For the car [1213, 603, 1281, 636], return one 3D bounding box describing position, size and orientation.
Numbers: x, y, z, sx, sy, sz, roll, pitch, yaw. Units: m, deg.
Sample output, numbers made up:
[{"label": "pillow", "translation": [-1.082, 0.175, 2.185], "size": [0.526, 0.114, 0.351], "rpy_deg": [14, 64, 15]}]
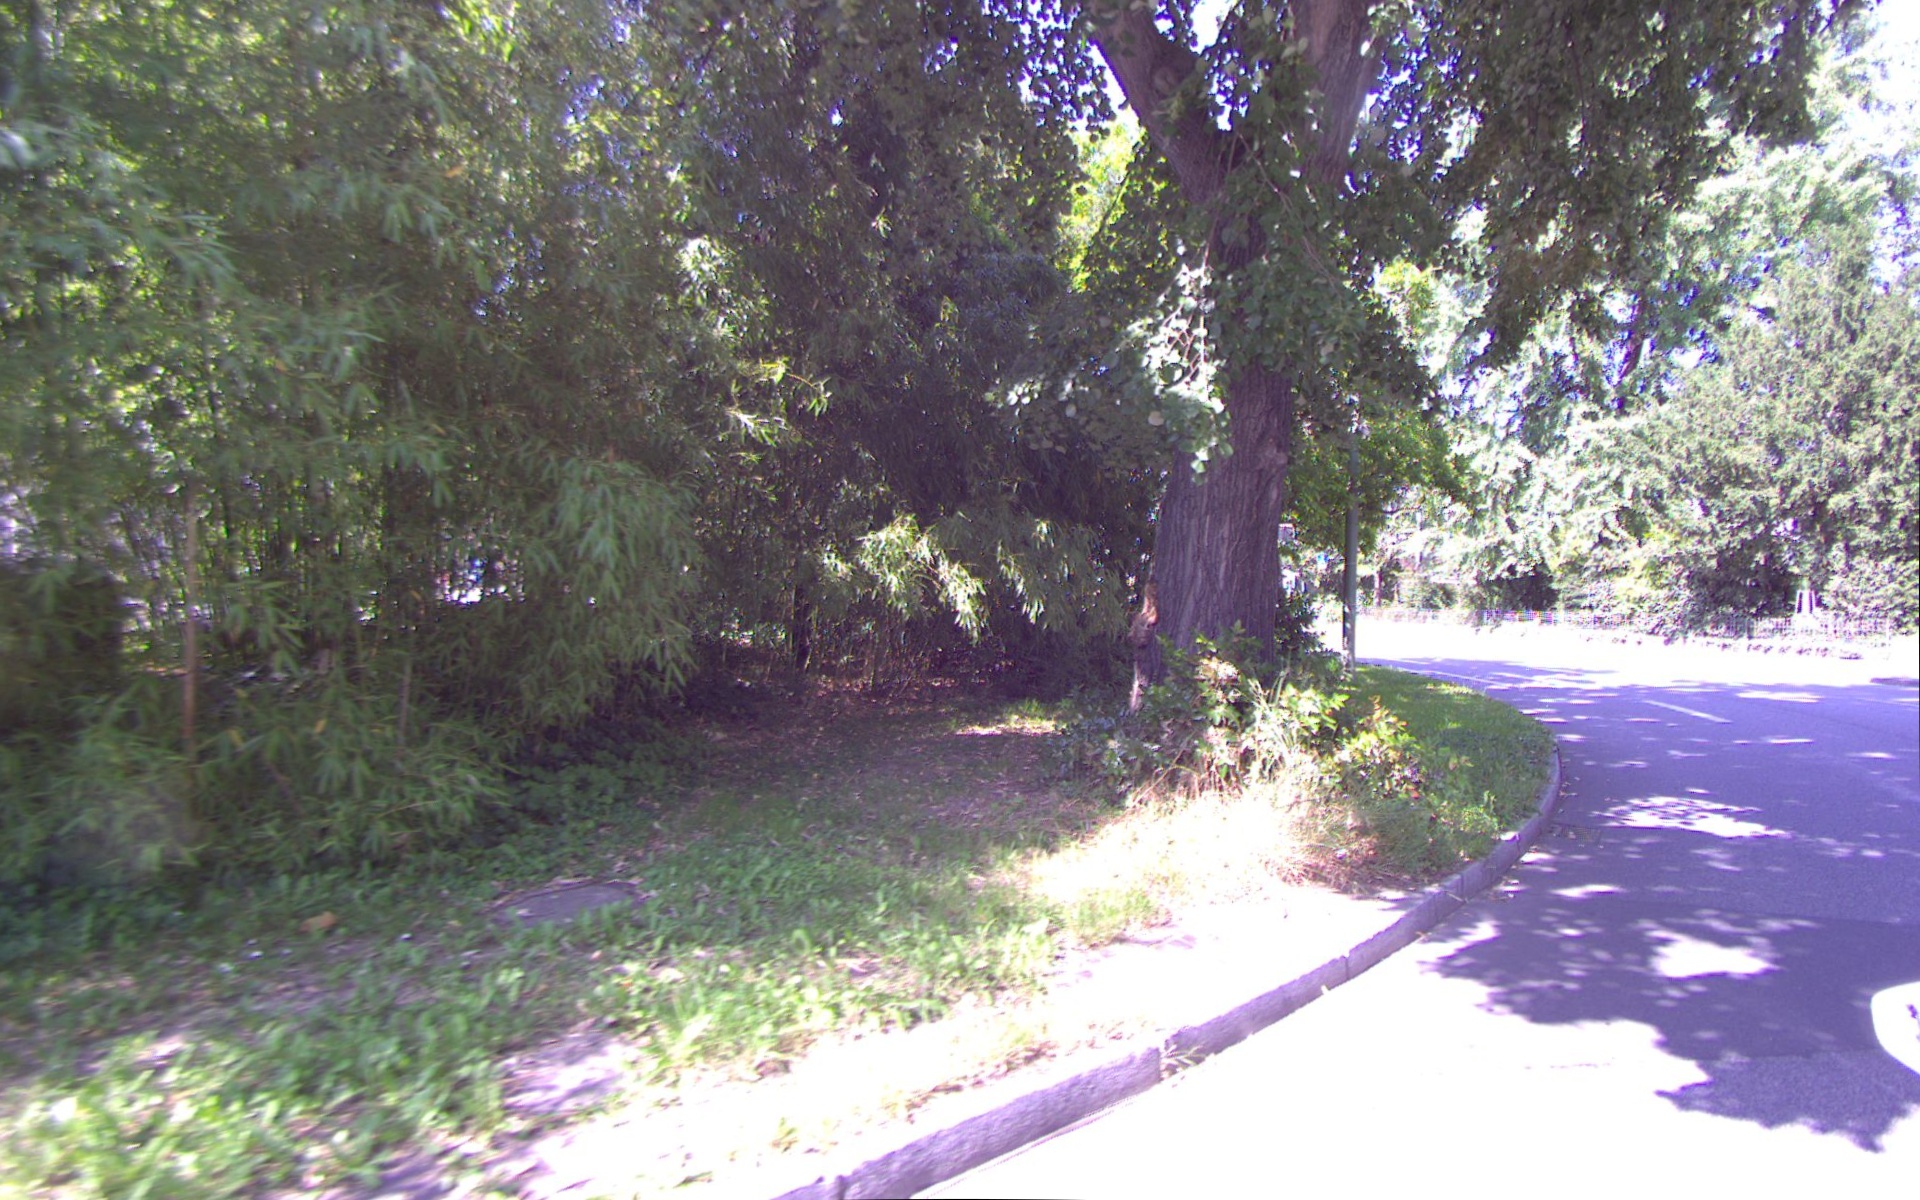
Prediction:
[{"label": "car", "translation": [14.261, 0.922, 50.083], "size": [1.917, 1.558, 4.079], "rpy_deg": [0, 0, -5]}]
